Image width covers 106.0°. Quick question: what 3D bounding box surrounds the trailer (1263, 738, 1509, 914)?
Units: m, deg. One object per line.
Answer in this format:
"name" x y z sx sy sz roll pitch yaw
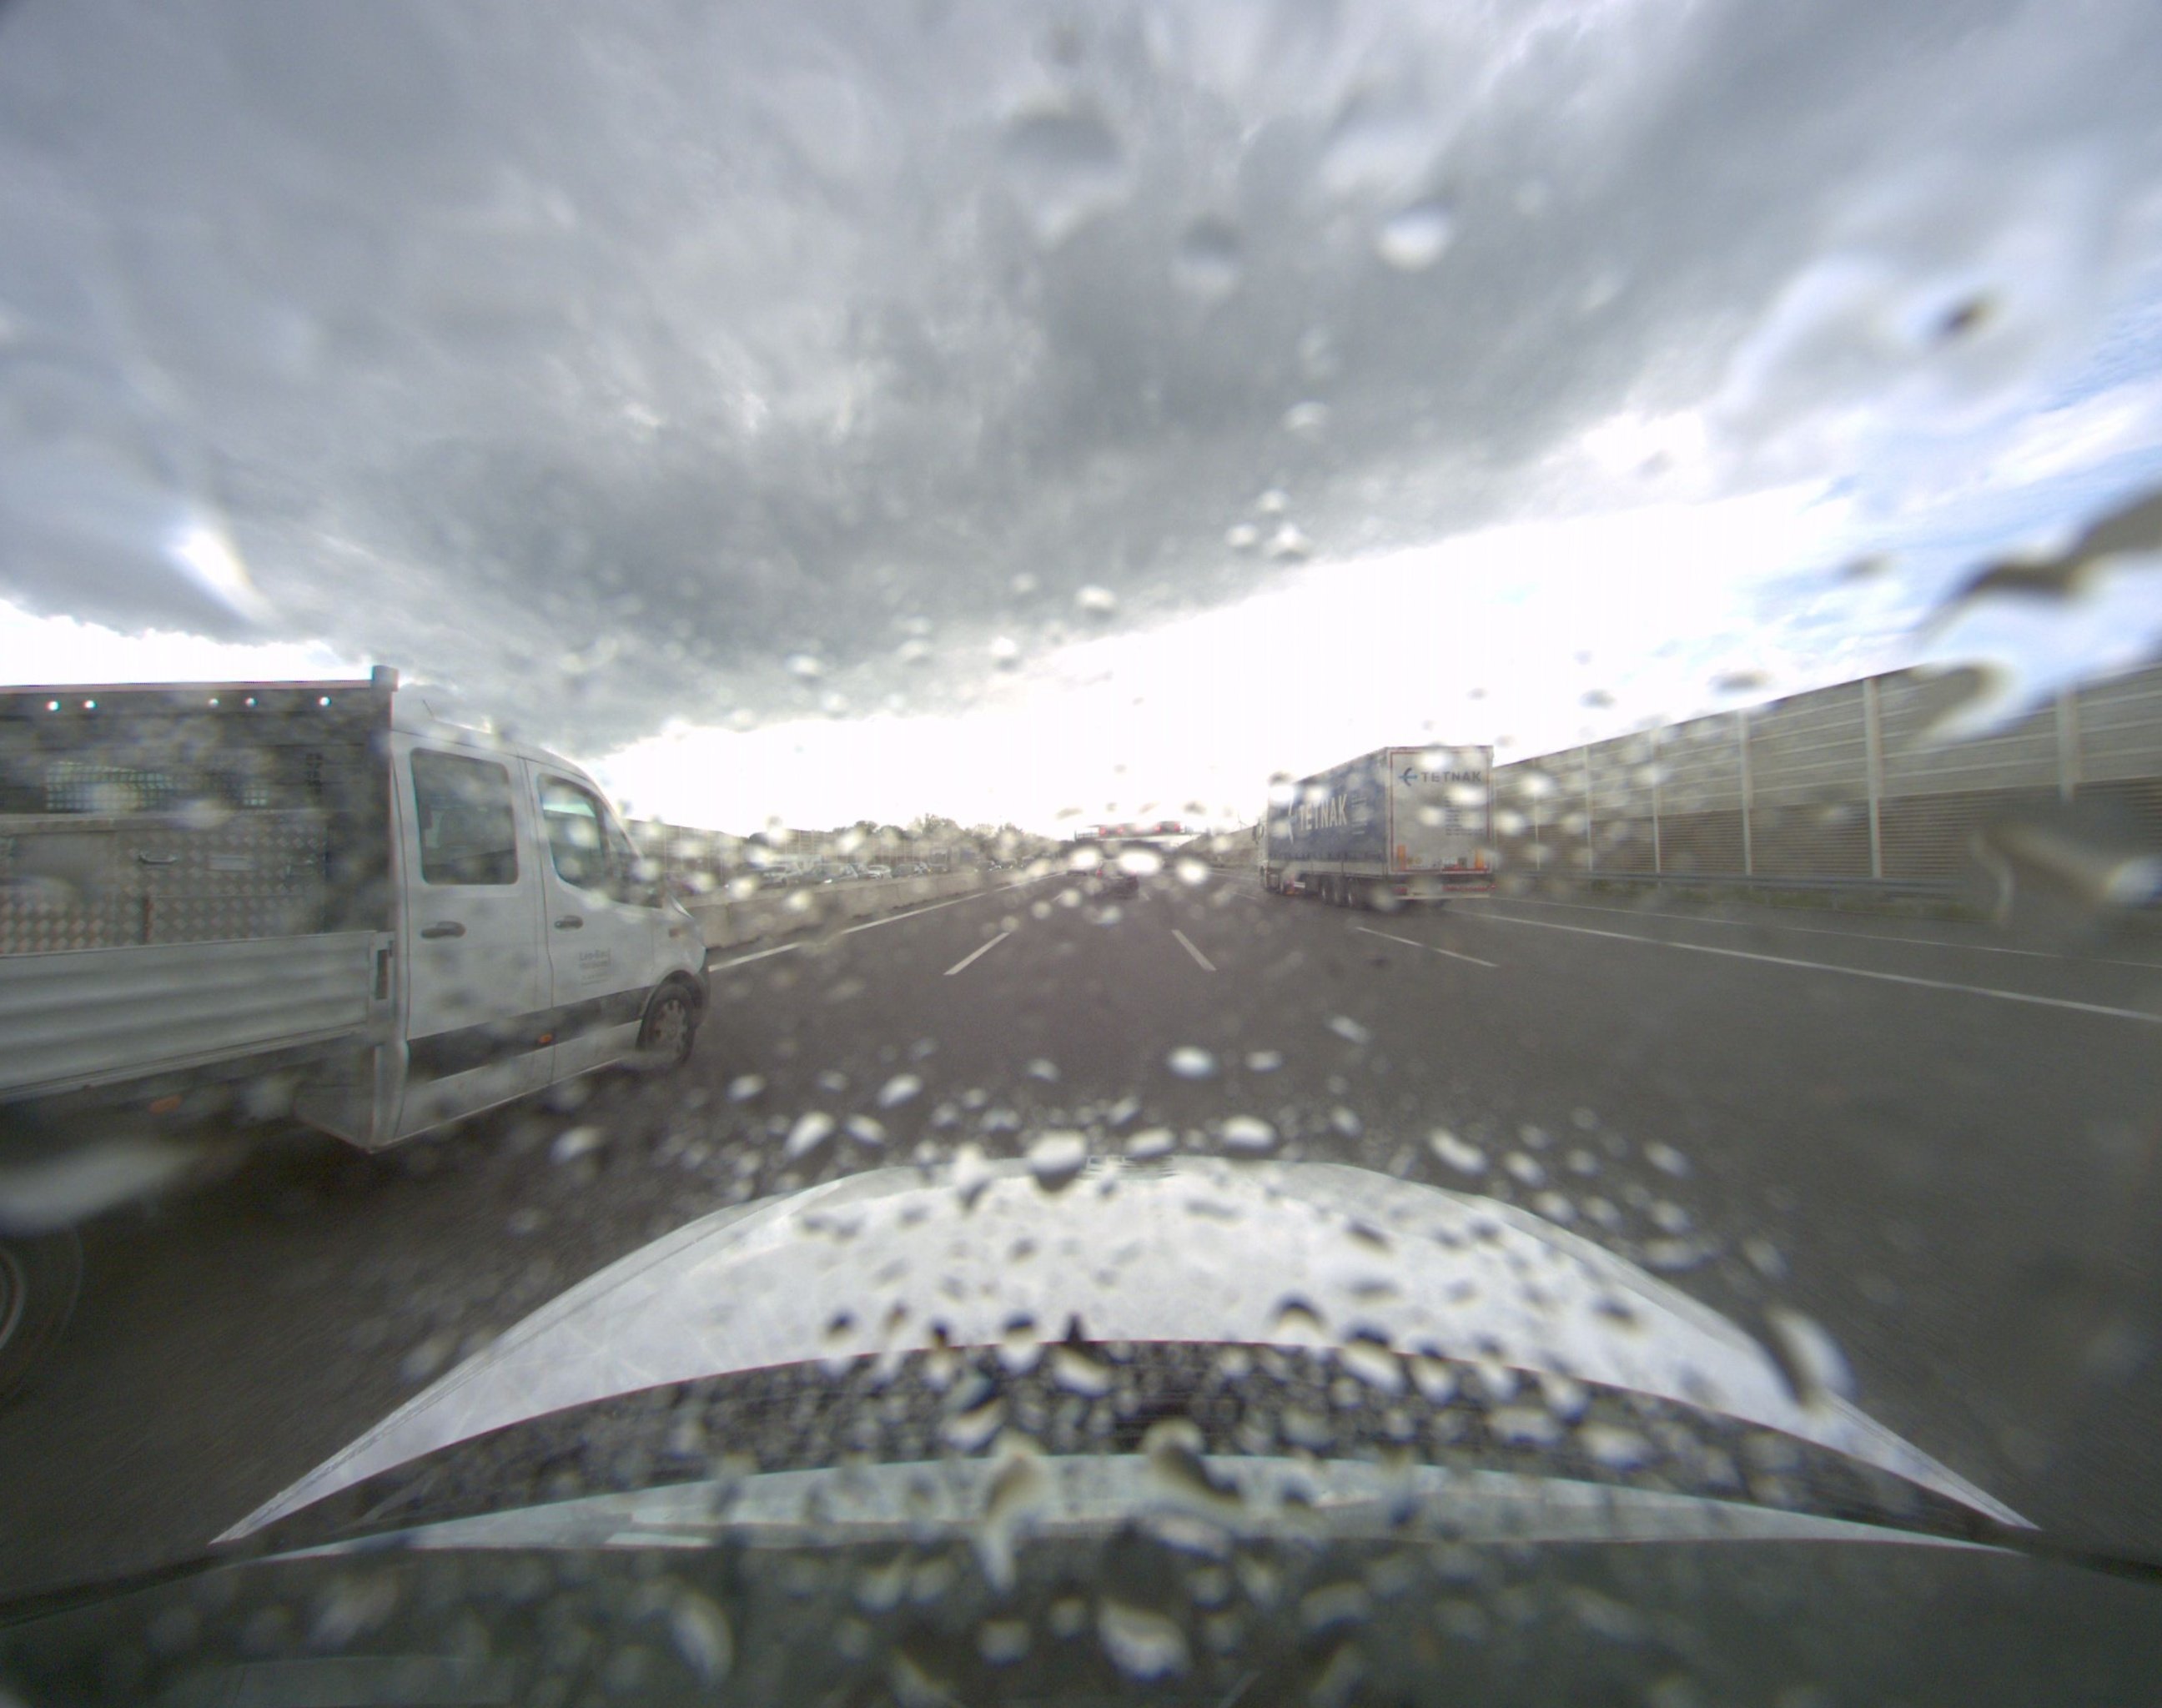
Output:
"trailer" 8.672 -0.593 26.067 2.751 4.032 14.457 -1 -1 2

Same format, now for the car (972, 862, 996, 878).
"car" -10.264 1.686 86.748 1.866 1.699 4.223 -1 0 2

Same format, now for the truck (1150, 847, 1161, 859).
"truck" 22.091 -0.278 240.943 3.138 3.602 12.715 0 0 5

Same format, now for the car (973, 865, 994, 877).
"car" -13.203 2.283 110.292 2.052 1.600 5.000 -1 -1 3

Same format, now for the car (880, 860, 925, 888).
"car" -11.956 1.304 54.738 1.948 1.699 4.411 -1 0 1

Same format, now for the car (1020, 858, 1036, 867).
"car" -9.292 1.448 142.327 2.050 1.491 5.003 -1 -1 5

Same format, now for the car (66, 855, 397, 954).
"car" -17.833 0.950 17.565 2.054 1.816 4.779 -1 0 1

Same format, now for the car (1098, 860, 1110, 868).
"car" 4.639 1.984 163.908 1.959 1.561 4.438 -2 -2 5

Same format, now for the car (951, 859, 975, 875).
"car" -13.967 1.526 96.646 1.866 1.699 5.017 -1 0 2

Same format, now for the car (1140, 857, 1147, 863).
"car" 16.898 1.539 219.687 1.958 1.561 4.439 -2 -2 5

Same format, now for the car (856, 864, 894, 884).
"car" -18.322 1.758 72.715 2.054 1.699 5.089 -1 0 1

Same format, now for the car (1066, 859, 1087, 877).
"car" -0.392 1.257 74.395 1.711 1.624 4.279 -1 0 1

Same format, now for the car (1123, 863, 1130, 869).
"car" 12.480 3.211 222.745 1.959 1.561 4.436 -2 -2 3

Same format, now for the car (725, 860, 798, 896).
"car" -16.367 1.174 42.022 1.948 1.699 4.411 -1 0 1

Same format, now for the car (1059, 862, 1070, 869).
"car" -3.687 2.716 186.779 2.050 1.491 5.003 -1 -1 5

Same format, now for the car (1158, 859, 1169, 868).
"car" 14.660 1.681 144.406 1.874 1.542 4.438 -2 -2 5

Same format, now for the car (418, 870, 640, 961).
"car" -13.042 1.356 19.720 2.054 1.816 4.779 -1 0 1

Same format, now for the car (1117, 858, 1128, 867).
"car" 7.983 1.634 155.093 1.959 1.561 4.438 -2 -2 5

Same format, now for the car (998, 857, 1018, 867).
"car" -9.383 1.009 104.612 1.866 1.299 5.602 -1 0 2

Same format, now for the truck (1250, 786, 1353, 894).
"truck" 8.866 -0.495 33.392 2.735 4.035 5.727 -1 -1 1

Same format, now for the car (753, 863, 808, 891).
"car" -19.731 1.454 53.706 1.948 1.699 4.411 -1 0 1

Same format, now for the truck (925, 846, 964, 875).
"truck" -17.265 0.818 103.928 2.684 3.527 10.005 0 0 4

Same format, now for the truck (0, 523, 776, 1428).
"truck" -4.036 0.347 3.935 2.299 2.440 7.149 -1 0 1

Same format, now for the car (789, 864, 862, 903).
"car" -12.519 1.402 40.202 1.948 1.699 4.893 -1 0 1

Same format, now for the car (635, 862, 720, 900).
"car" -19.884 1.284 40.385 1.948 1.699 4.411 -1 0 1

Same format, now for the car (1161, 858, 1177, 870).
"car" 11.793 1.358 109.338 1.942 1.418 4.234 -1 -1 2

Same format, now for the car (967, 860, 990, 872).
"car" -13.828 1.630 110.468 2.050 1.491 5.003 -1 -1 5

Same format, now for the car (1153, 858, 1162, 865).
"car" 17.860 1.778 190.675 1.874 1.561 4.438 -2 -2 5

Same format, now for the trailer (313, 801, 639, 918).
"trailer" -24.904 0.249 35.444 2.750 4.032 14.463 -1 -1 3

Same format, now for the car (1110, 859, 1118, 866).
"car" 9.073 2.342 223.836 1.959 1.561 4.438 -2 -2 5

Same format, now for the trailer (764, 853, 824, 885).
"trailer" -23.317 1.174 66.544 2.449 2.495 6.089 -1 0 3

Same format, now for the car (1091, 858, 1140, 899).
"car" 1.274 0.887 31.437 1.711 1.417 4.278 -1 0 1
